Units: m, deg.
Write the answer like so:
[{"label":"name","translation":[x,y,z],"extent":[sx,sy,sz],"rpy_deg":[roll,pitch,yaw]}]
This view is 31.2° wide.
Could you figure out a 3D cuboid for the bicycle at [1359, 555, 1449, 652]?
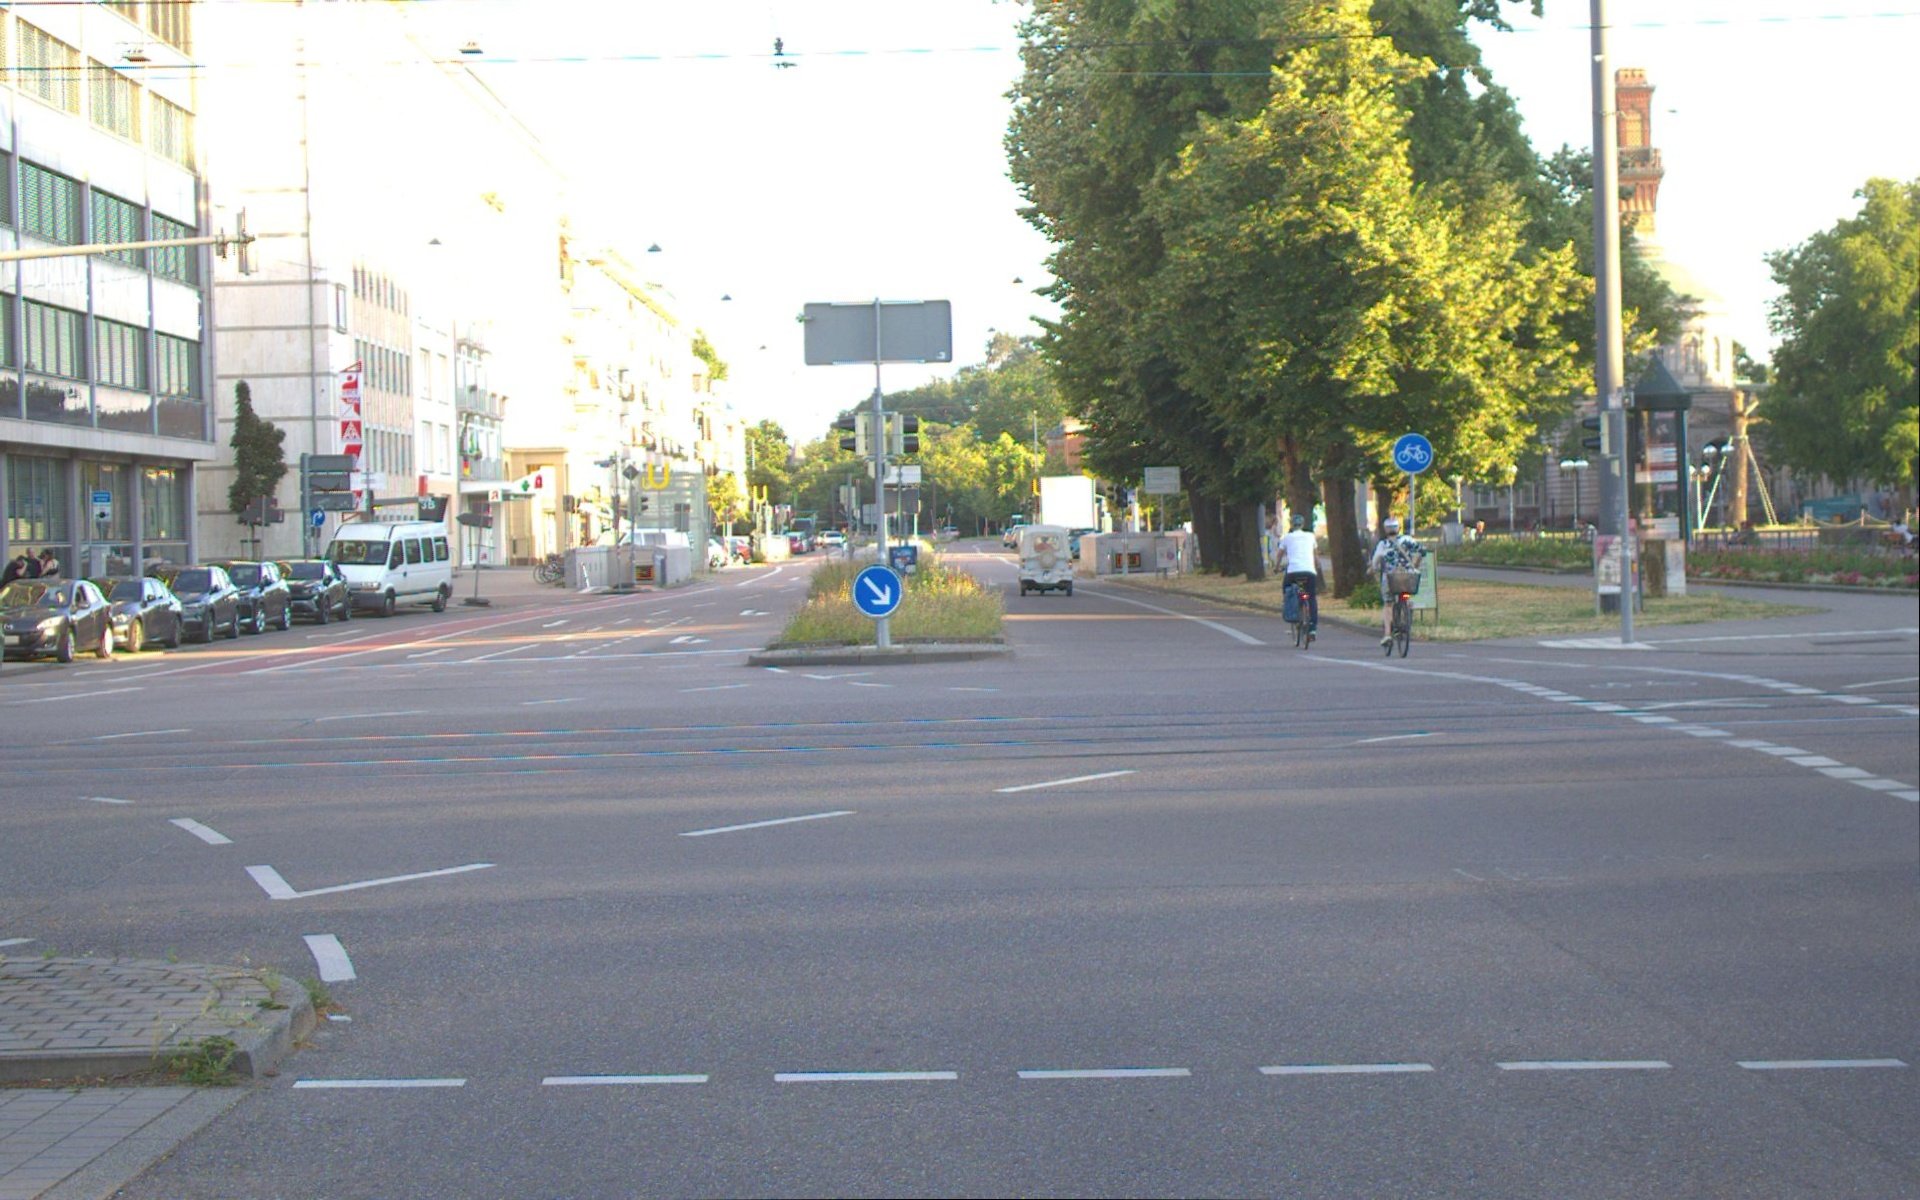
[{"label":"bicycle","translation":[5.531,0.030,42.951],"extent":[0.746,1.140,2.505],"rpy_deg":[-2,1,-1]}]

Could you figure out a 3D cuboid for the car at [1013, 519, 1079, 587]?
[{"label":"car","translation":[2.142,-1.197,86.376],"extent":[1.408,1.636,4.000],"rpy_deg":[-2,1,-2]}]

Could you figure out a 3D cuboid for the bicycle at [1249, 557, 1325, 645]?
[{"label":"bicycle","translation":[4.493,-0.002,47.340],"extent":[0.746,1.140,2.505],"rpy_deg":[-2,1,-1]}]

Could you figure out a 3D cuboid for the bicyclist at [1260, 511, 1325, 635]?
[{"label":"bicyclist","translation":[4.530,-0.376,46.907],"extent":[0.746,1.658,0.873],"rpy_deg":[-2,1,-1]}]

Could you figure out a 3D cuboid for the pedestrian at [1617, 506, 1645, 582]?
[{"label":"pedestrian","translation":[14.722,-1.230,75.421],"extent":[0.460,1.651,0.567],"rpy_deg":[-1,1,-1]}]

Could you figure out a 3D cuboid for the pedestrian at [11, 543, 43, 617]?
[{"label":"pedestrian","translation":[-21.248,-0.458,78.267],"extent":[0.551,1.673,0.500],"rpy_deg":[-2,1,-1]}]

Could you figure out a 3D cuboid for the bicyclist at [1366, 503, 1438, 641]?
[{"label":"bicyclist","translation":[5.518,-0.354,42.951],"extent":[0.746,1.685,0.799],"rpy_deg":[-2,1,-1]}]

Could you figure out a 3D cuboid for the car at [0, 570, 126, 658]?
[{"label":"car","translation":[-16.484,0.241,61.933],"extent":[1.920,1.459,4.103],"rpy_deg":[-2,1,-1]}]

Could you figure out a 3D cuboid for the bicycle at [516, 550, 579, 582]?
[{"label":"bicycle","translation":[-15.199,-1.255,126.694],"extent":[2.205,1.108,0.689],"rpy_deg":[-2,1,-2]}]

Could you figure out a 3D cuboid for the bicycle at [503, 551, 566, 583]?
[{"label":"bicycle","translation":[-15.516,-1.215,125.508],"extent":[2.205,1.108,0.619],"rpy_deg":[-2,1,-2]}]

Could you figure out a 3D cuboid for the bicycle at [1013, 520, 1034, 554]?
[{"label":"bicycle","translation":[3.846,-3.839,208.021],"extent":[1.002,2.007,4.000],"rpy_deg":[-1,1,4]}]

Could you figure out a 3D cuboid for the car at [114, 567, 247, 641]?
[{"label":"car","translation":[-16.577,0.063,73.261],"extent":[1.920,1.459,4.000],"rpy_deg":[-2,1,-1]}]

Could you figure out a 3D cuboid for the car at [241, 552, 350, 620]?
[{"label":"car","translation":[-16.356,-0.373,84.789],"extent":[1.920,1.563,4.000],"rpy_deg":[-2,1,-1]}]

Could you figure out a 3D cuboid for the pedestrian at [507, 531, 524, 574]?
[{"label":"pedestrian","translation":[-21.347,-2.290,164.979],"extent":[0.680,2.007,0.545],"rpy_deg":[-2,1,0]}]

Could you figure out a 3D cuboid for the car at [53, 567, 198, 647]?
[{"label":"car","translation":[-16.573,0.111,68.446],"extent":[1.920,1.459,4.000],"rpy_deg":[-2,1,-1]}]

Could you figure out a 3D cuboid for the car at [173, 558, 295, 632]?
[{"label":"car","translation":[-16.555,-0.140,78.562],"extent":[1.920,1.563,4.000],"rpy_deg":[-2,1,-1]}]

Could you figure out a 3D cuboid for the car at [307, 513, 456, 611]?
[{"label":"car","translation":[-15.297,-1.043,91.239],"extent":[2.002,2.469,5.865],"rpy_deg":[-1,1,10]}]

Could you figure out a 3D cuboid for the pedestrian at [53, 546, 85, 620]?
[{"label":"pedestrian","translation":[-20.205,-0.386,77.955],"extent":[0.551,1.673,0.500],"rpy_deg":[-2,1,-1]}]

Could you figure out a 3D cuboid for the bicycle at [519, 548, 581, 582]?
[{"label":"bicycle","translation":[-15.385,-1.311,128.908],"extent":[2.205,1.232,0.839],"rpy_deg":[-2,1,-2]}]

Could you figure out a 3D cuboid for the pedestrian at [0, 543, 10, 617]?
[{"label":"pedestrian","translation":[-21.901,-0.453,77.957],"extent":[0.551,1.673,0.500],"rpy_deg":[-2,1,-1]}]
